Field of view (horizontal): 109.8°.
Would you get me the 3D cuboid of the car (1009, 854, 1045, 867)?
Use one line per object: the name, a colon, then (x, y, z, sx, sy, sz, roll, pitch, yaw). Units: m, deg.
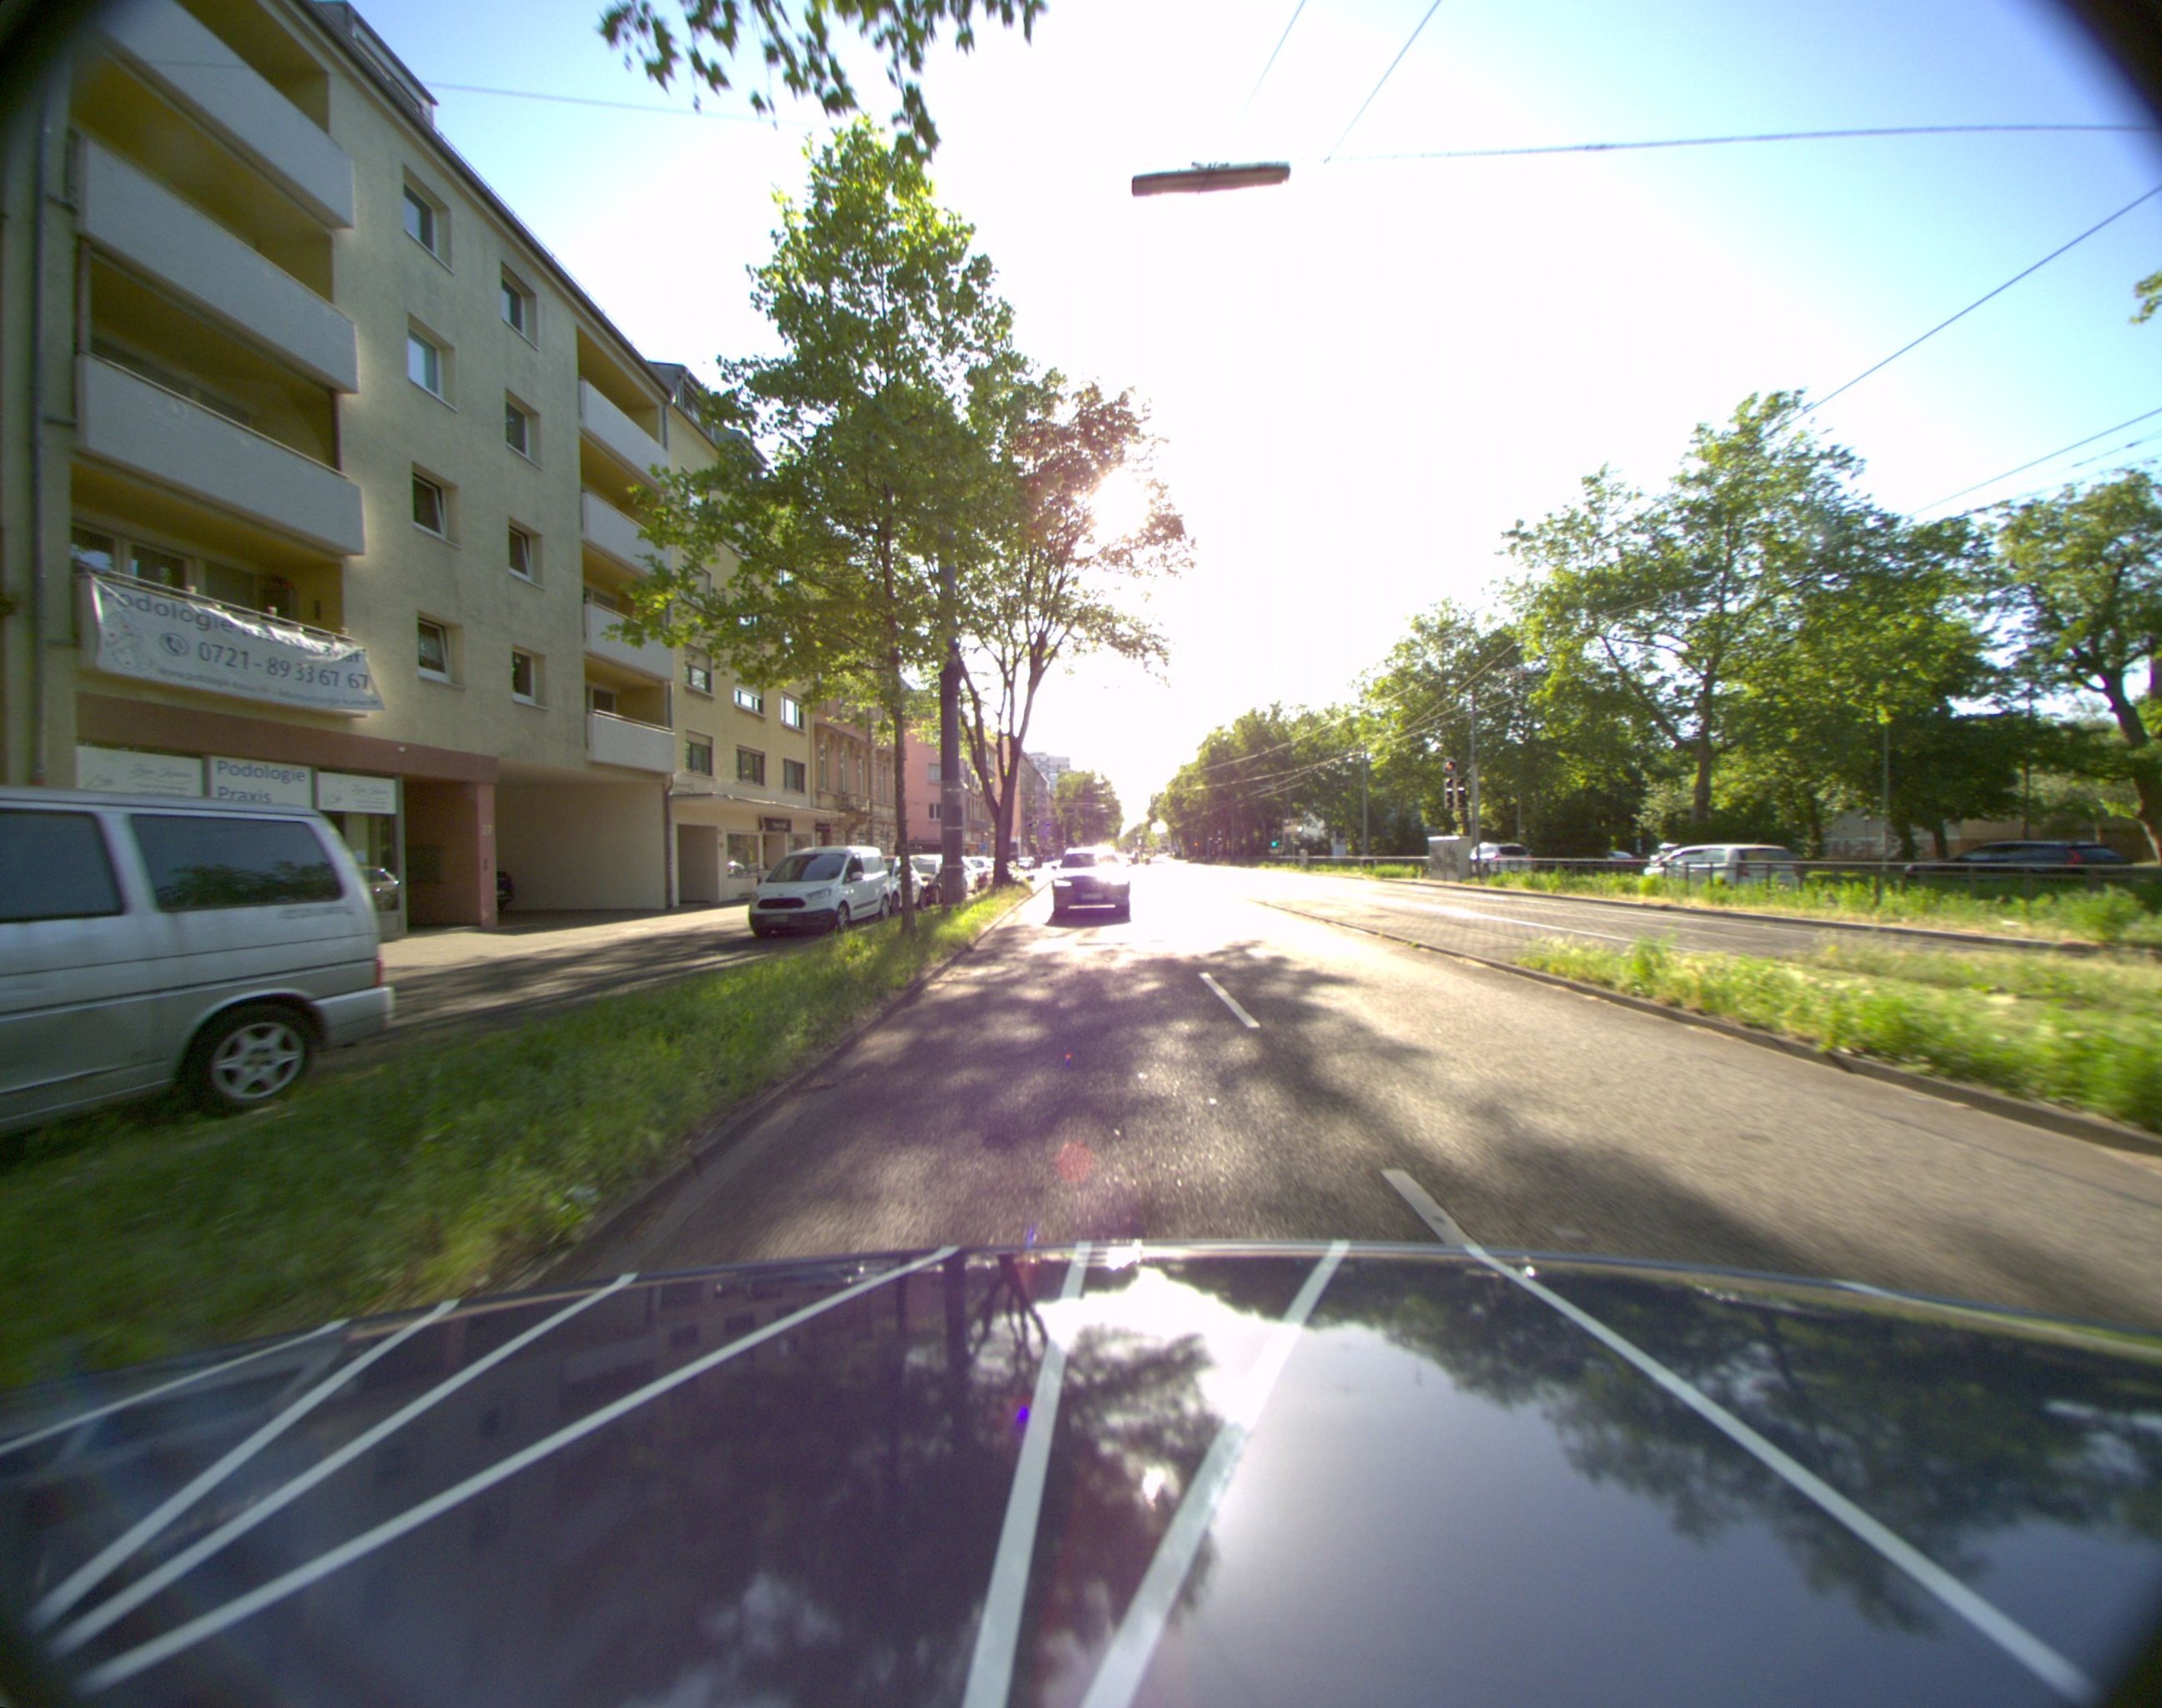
car: (-6.772, 0.799, 95.252, 4.005, 1.442, 1.813, -3, 0, -29)

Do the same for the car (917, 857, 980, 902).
car: (-4.849, 0.891, 28.310, 1.630, 1.468, 3.697, -3, 0, 0)

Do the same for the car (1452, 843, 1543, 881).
car: (19.935, 0.377, 36.608, 1.890, 1.610, 4.598, -3, 0, 1)

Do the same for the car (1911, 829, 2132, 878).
car: (27.509, -0.038, 22.457, 1.598, 1.216, 4.024, -3, 1, 2)

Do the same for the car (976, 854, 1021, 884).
car: (-4.261, 0.732, 39.625, 1.700, 1.413, 4.170, -3, 0, 2)

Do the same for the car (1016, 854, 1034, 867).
car: (-6.423, 0.755, 87.693, 1.739, 1.510, 4.000, 1, 0, 1)

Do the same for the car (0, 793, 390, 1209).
car: (-5.682, 0.682, 2.673, 1.869, 1.805, 4.800, -3, 0, 3)

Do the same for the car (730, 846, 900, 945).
car: (-5.136, 0.727, 15.315, 1.629, 1.658, 4.143, -3, 0, 4)

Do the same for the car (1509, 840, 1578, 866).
car: (28.828, -0.068, 47.537, 1.745, 1.462, 4.347, -3, 0, 3)

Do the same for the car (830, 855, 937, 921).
car: (-5.026, 0.813, 19.783, 1.515, 1.471, 3.493, -3, 0, 5)

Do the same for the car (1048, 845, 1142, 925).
car: (0.355, 0.693, 18.653, 1.968, 1.664, 4.000, -3, 0, 1)

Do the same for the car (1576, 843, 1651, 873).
car: (28.431, 0.208, 40.706, 1.595, 1.462, 3.823, -3, 0, 6)

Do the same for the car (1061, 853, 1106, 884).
car: (0.067, 0.762, 40.747, 1.661, 1.473, 3.969, -3, 0, -10)

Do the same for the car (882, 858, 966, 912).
car: (-4.876, 0.908, 24.034, 1.565, 1.476, 3.788, -3, 0, 4)

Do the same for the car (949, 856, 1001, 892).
car: (-4.712, 0.866, 34.234, 1.593, 1.426, 3.906, -3, 0, 2)

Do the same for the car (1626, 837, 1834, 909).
car: (15.998, 0.427, 19.040, 1.849, 1.521, 3.874, -3, 0, 0)
